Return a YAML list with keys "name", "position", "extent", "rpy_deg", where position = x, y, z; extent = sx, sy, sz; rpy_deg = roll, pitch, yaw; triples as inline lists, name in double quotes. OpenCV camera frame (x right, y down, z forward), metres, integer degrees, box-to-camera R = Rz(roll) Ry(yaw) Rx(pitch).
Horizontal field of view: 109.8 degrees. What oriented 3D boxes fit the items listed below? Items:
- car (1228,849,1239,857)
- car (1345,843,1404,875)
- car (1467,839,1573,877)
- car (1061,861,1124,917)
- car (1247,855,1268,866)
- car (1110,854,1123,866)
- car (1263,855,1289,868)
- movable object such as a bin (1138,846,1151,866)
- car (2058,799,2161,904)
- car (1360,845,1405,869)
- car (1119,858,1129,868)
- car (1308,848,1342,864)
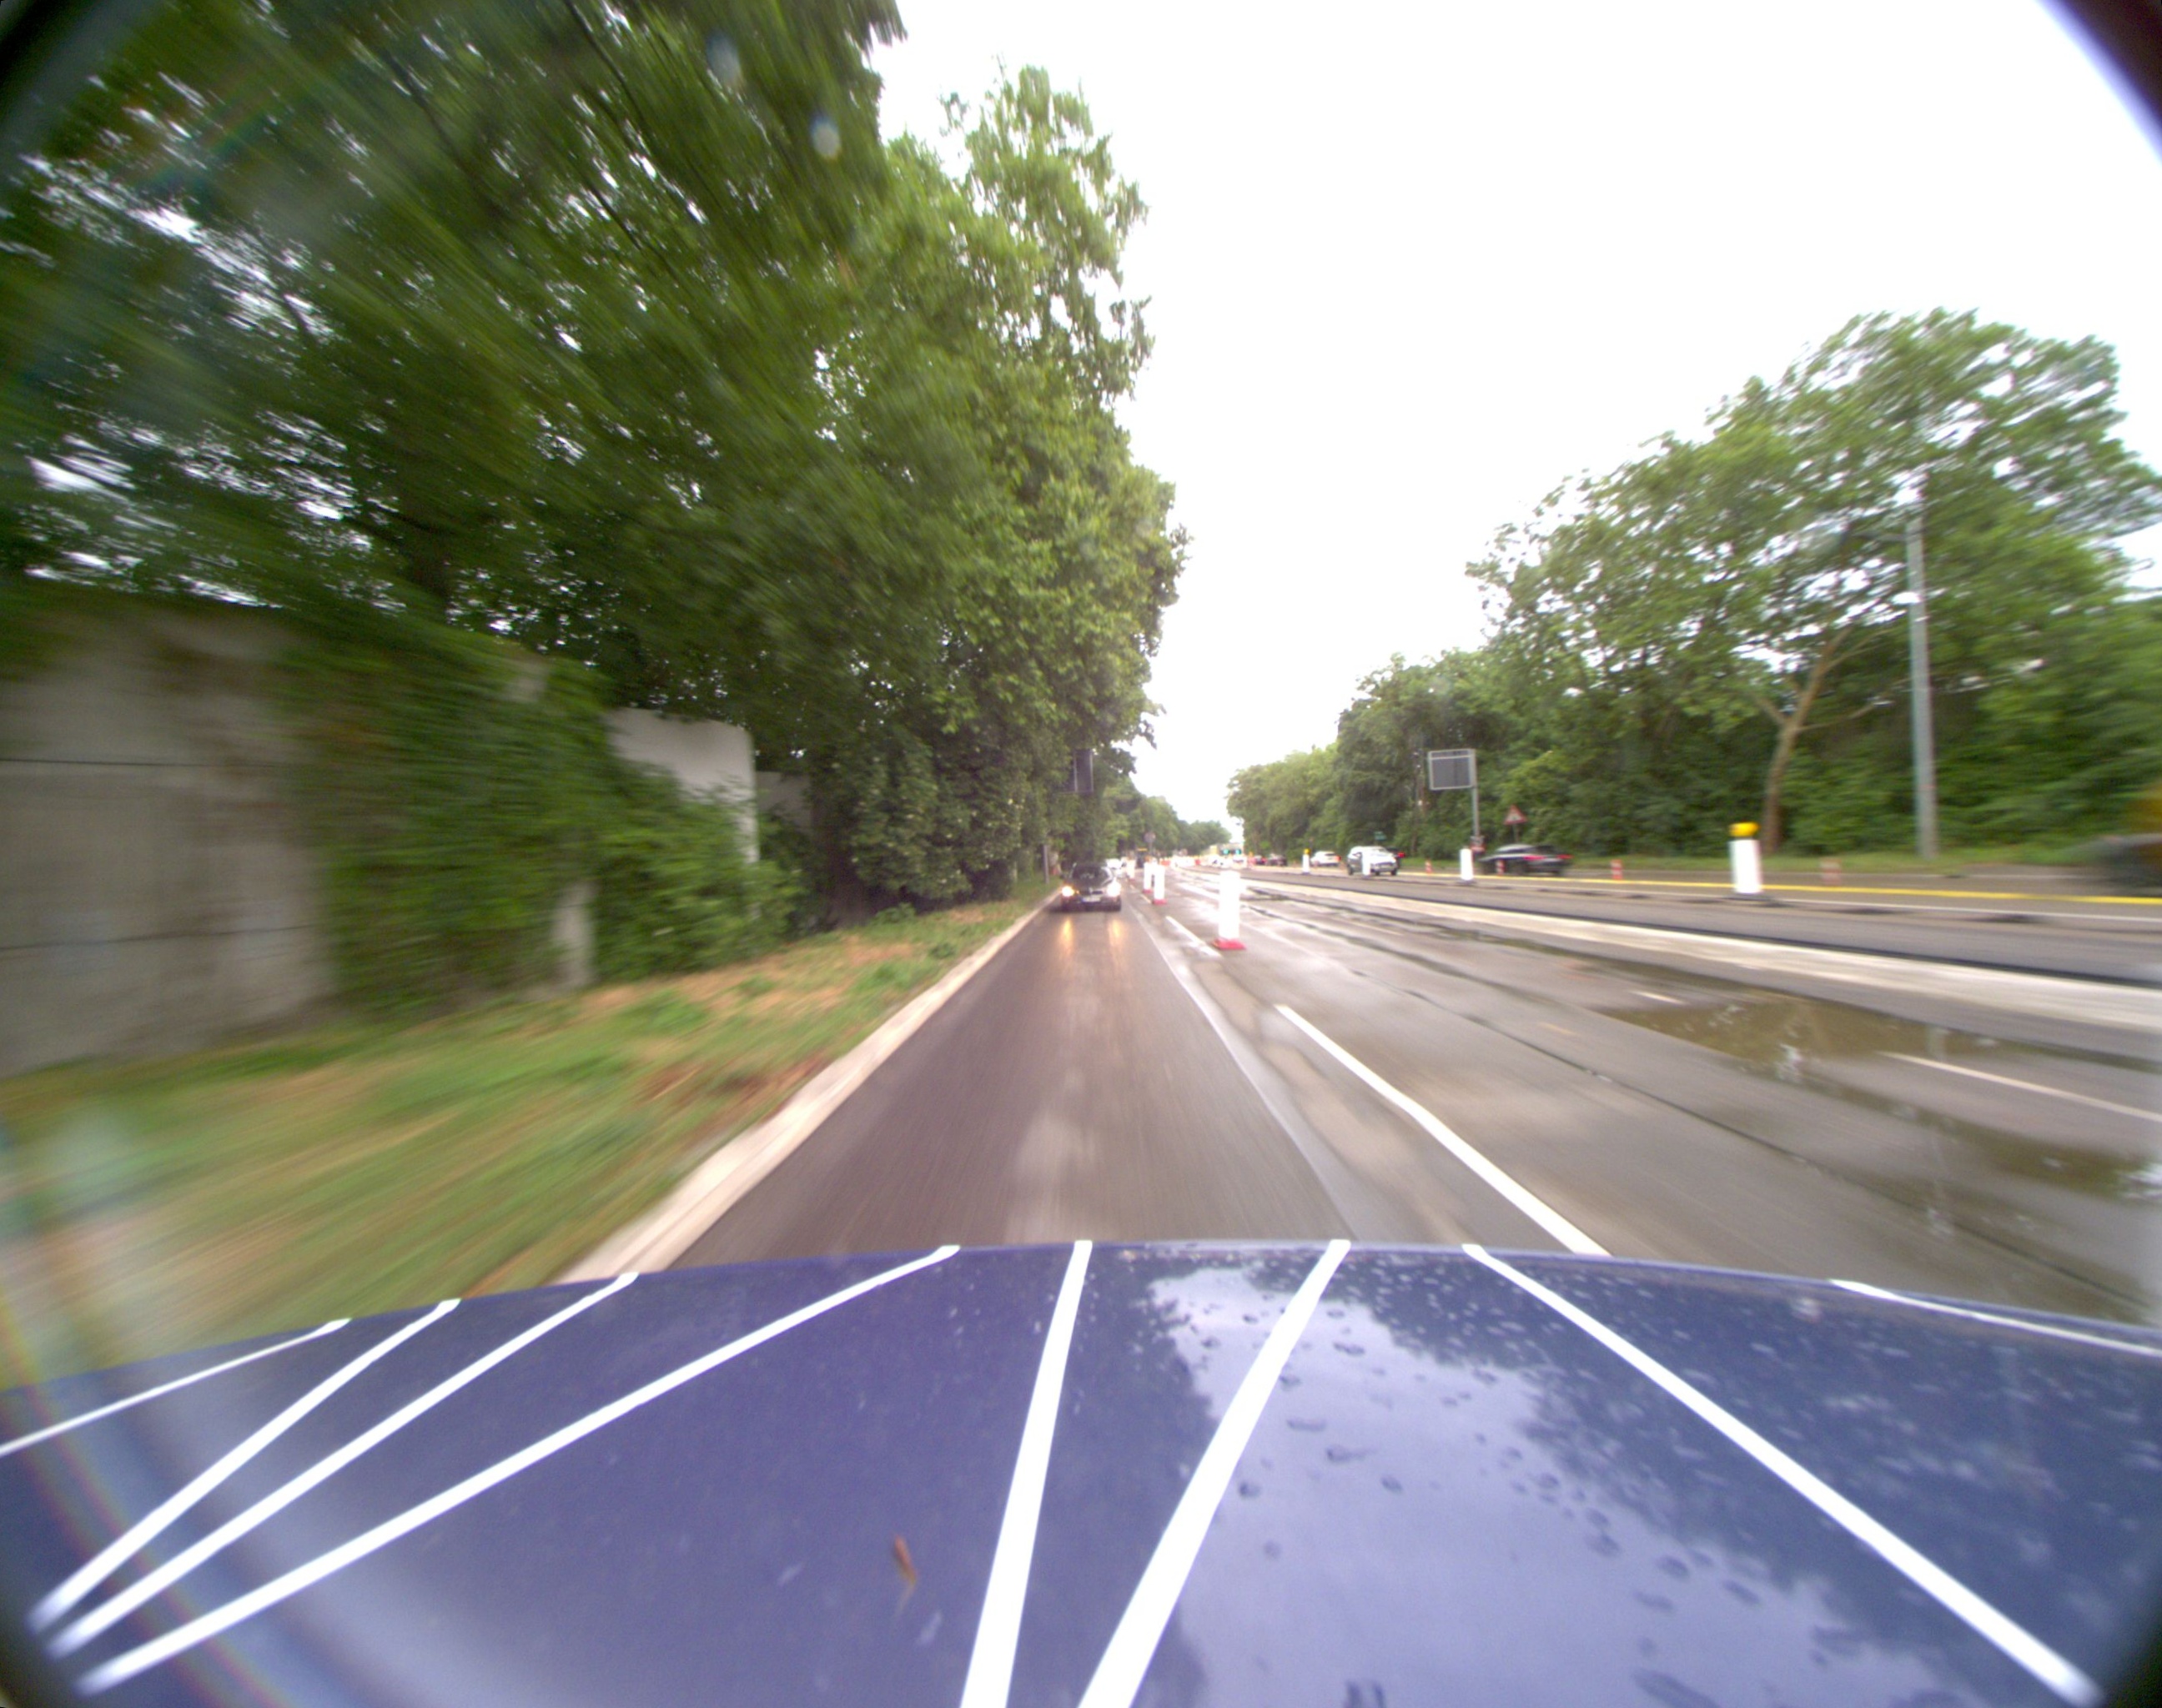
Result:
- name: "car"
  position: [35.462, -0.184, 176.500]
  extent: [1.781, 1.740, 4.381]
  rpy_deg: [-1, 0, 2]
- name: "car"
  position: [16.068, 0.276, 41.790]
  extent: [1.794, 1.574, 3.862]
  rpy_deg: [-2, 0, 2]
- name: "car"
  position: [18.956, 0.197, 33.117]
  extent: [1.764, 1.475, 4.901]
  rpy_deg: [-2, -1, 0]
- name: "car"
  position: [0.334, 0.986, 22.899]
  extent: [1.701, 1.477, 4.000]
  rpy_deg: [-1, 0, 0]
- name: "car"
  position: [22.753, 0.853, 98.254]
  extent: [1.822, 1.347, 4.391]
  rpy_deg: [-1, -1, 1]
- name: "car"
  position: [4.964, 0.844, 105.798]
  extent: [1.707, 1.680, 4.473]
  rpy_deg: [-1, 0, 3]
- name: "car"
  position: [21.547, 0.865, 83.979]
  extent: [1.822, 1.347, 4.205]
  rpy_deg: [-1, -1, 1]
- name: "movable object such as a bin"
  position: [9.790, 0.337, 117.355]
  extent: [1.807, 2.968, 5.248]
  rpy_deg: [-1, 0, 7]
- name: "car"
  position: [18.430, -0.082, 11.400]
  extent: [1.739, 1.712, 4.494]
  rpy_deg: [-3, 0, 1]
- name: "car"
  position: [22.571, 0.250, 57.046]
  extent: [1.657, 1.675, 4.534]
  rpy_deg: [-3, -1, 1]
- name: "car"
  position: [7.790, 1.614, 137.604]
  extent: [1.707, 1.680, 4.474]
  rpy_deg: [-1, 0, 5]
- name: "car"
  position: [23.603, 0.248, 73.671]
  extent: [1.822, 1.411, 4.603]
  rpy_deg: [-3, -1, 1]
